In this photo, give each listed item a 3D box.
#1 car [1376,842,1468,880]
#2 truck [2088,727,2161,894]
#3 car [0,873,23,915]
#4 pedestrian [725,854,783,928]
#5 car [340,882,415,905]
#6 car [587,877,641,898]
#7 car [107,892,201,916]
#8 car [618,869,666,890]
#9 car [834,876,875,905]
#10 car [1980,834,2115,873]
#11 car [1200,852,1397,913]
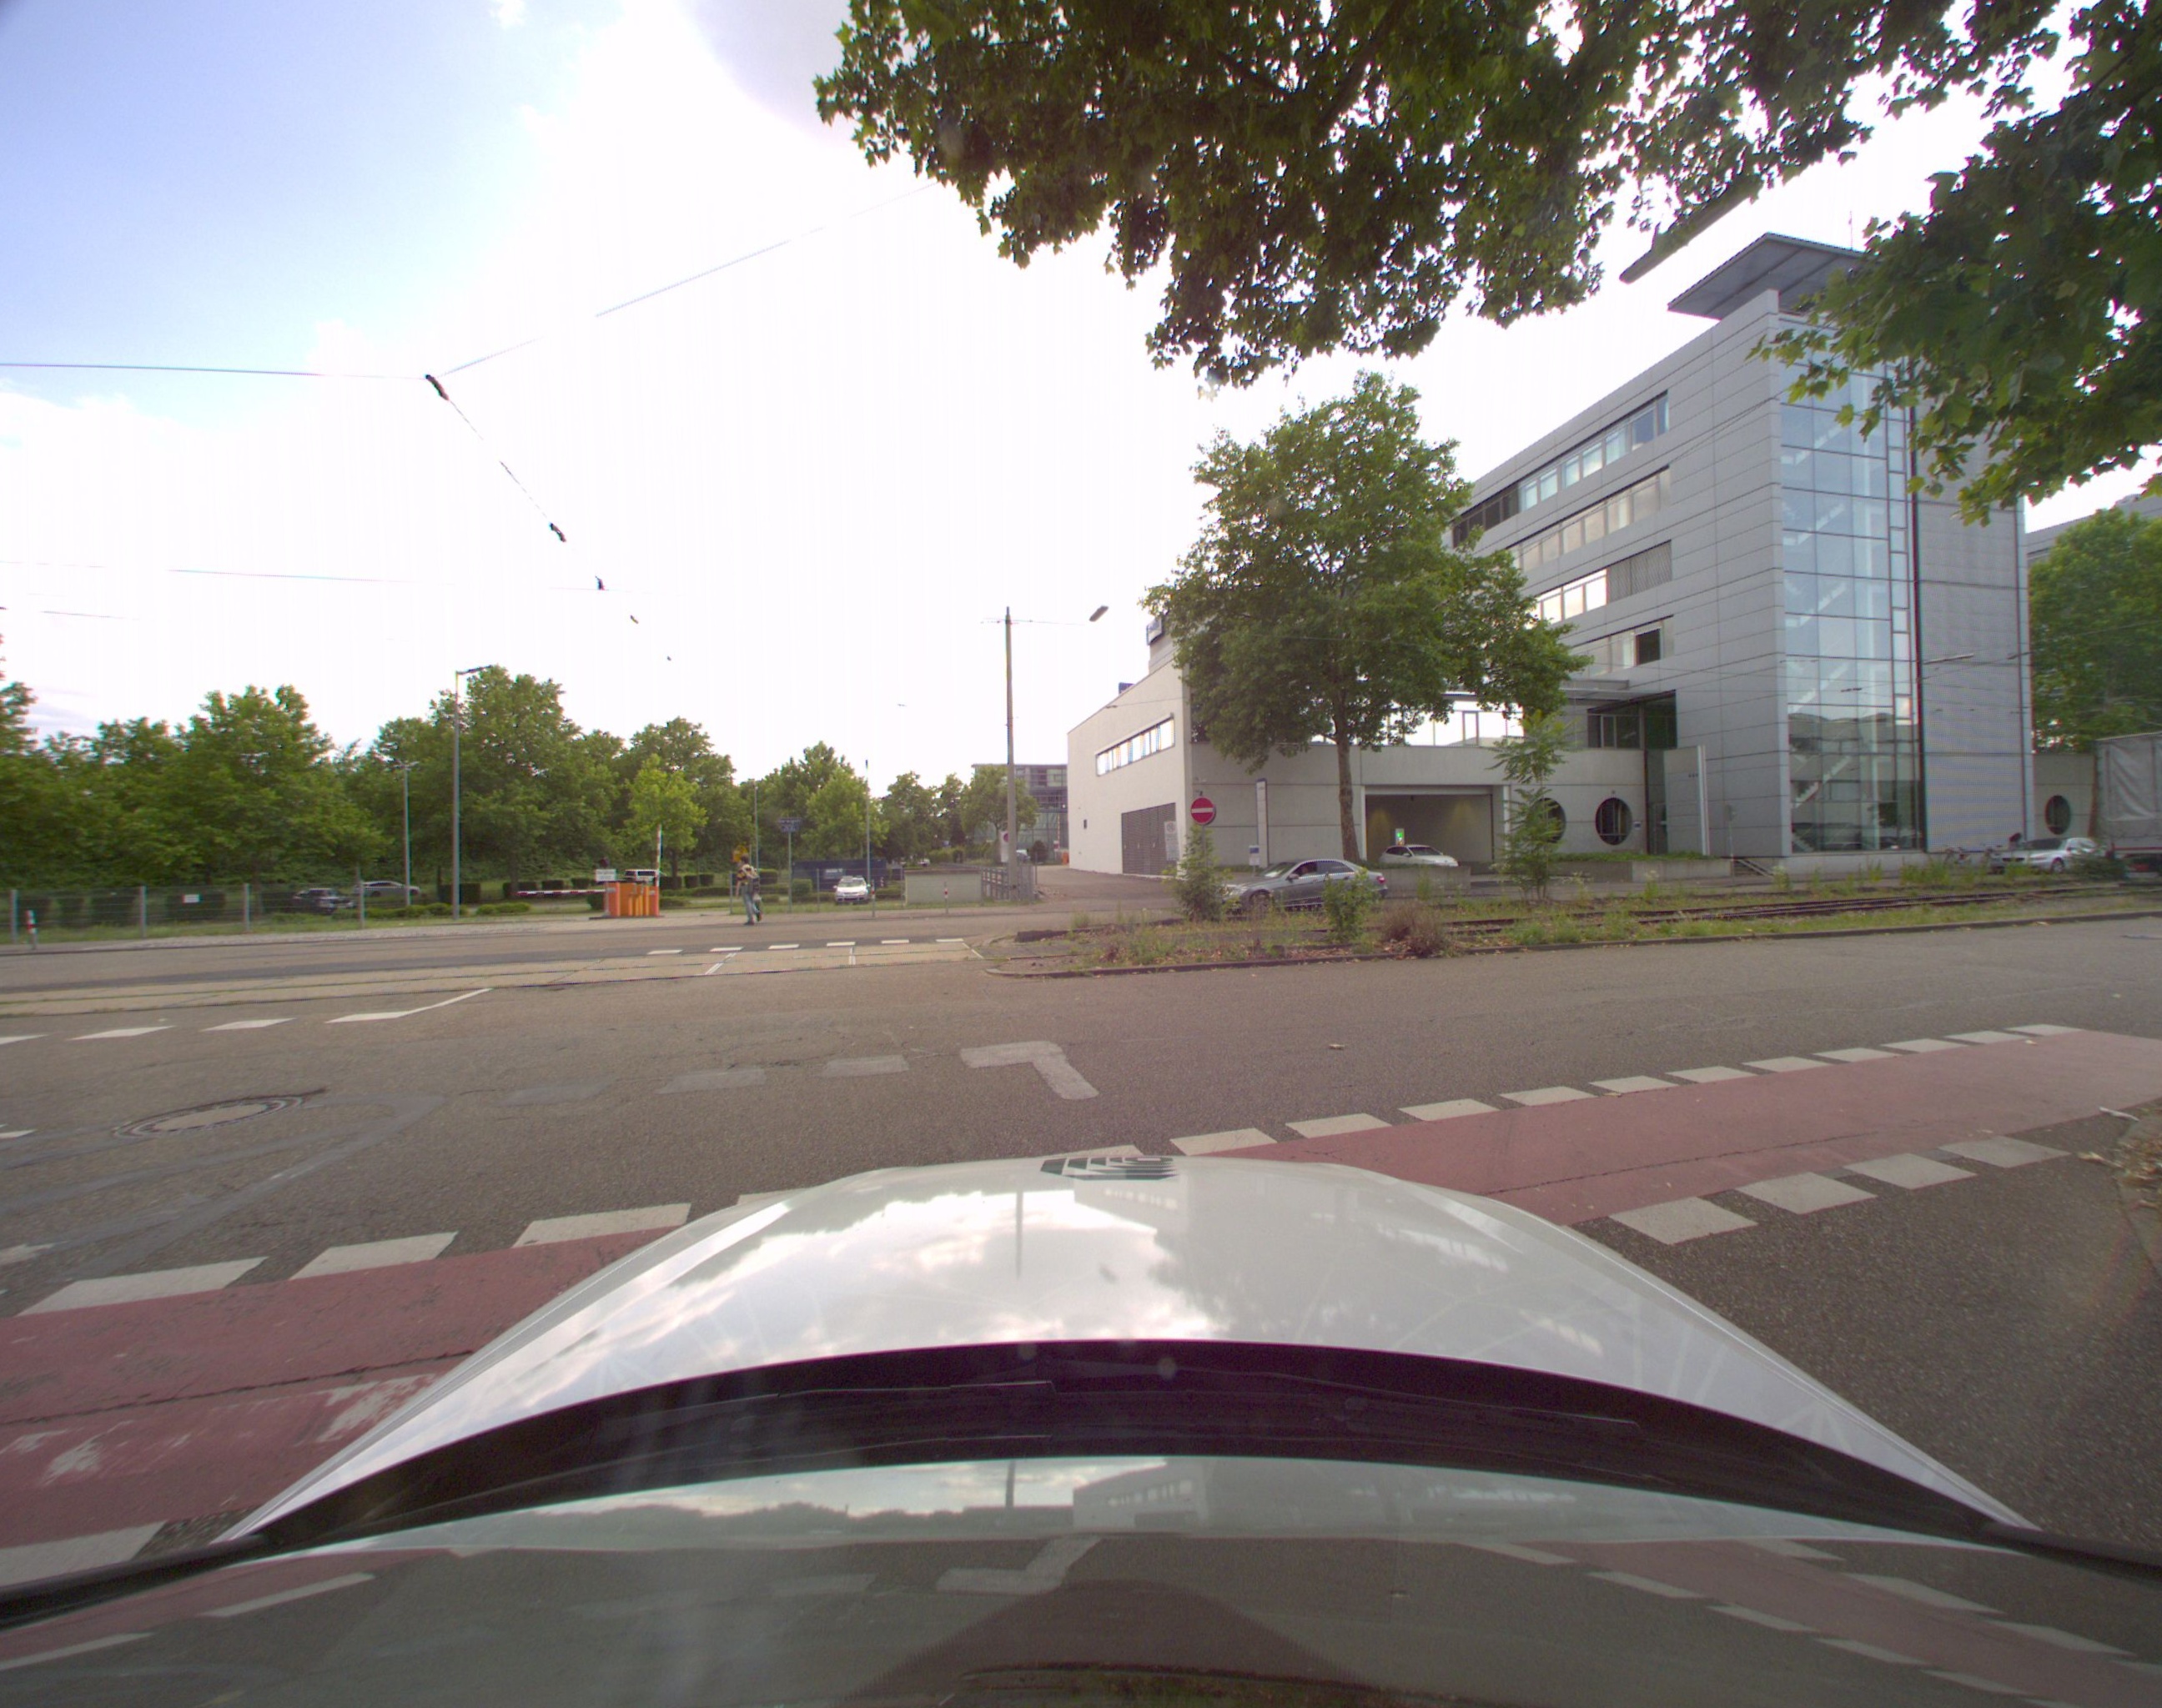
[{"bbox_3d":[15.347,0.325,36.909,1.829,1.578,4.030,-2,-1,-13],"label":"car"},{"bbox_3d":[29.848,-1.143,20.095,9.534,3.896,2.784,-2,-1,-16],"label":"truck"},{"bbox_3d":[-65.233,2.401,46.220,2.186,2.442,5.940,-1,0,20],"label":"car"},{"bbox_3d":[-8.594,0.947,21.396,1.009,1.849,1.214,-1,-1,-44],"label":"pedestrian"},{"bbox_3d":[-59.090,3.313,68.489,1.976,1.684,4.285,-1,0,22],"label":"car"},{"bbox_3d":[-40.558,2.876,70.730,3.955,1.701,1.918,-1,-1,18],"label":"car"},{"bbox_3d":[-66.431,3.564,58.457,1.898,1.512,4.020,-1,0,19],"label":"car"},{"bbox_3d":[-48.065,2.814,89.287,1.840,2.135,4.591,-1,0,18],"label":"car"},{"bbox_3d":[-12.527,2.003,45.196,1.933,1.403,4.063,-2,-1,-12],"label":"car"},{"bbox_3d":[39.517,-0.034,33.321,4.064,1.452,1.935,-2,-1,-14],"label":"car"},{"bbox_3d":[5.908,0.749,22.286,4.960,1.431,1.765,-2,-1,-14],"label":"car"}]
